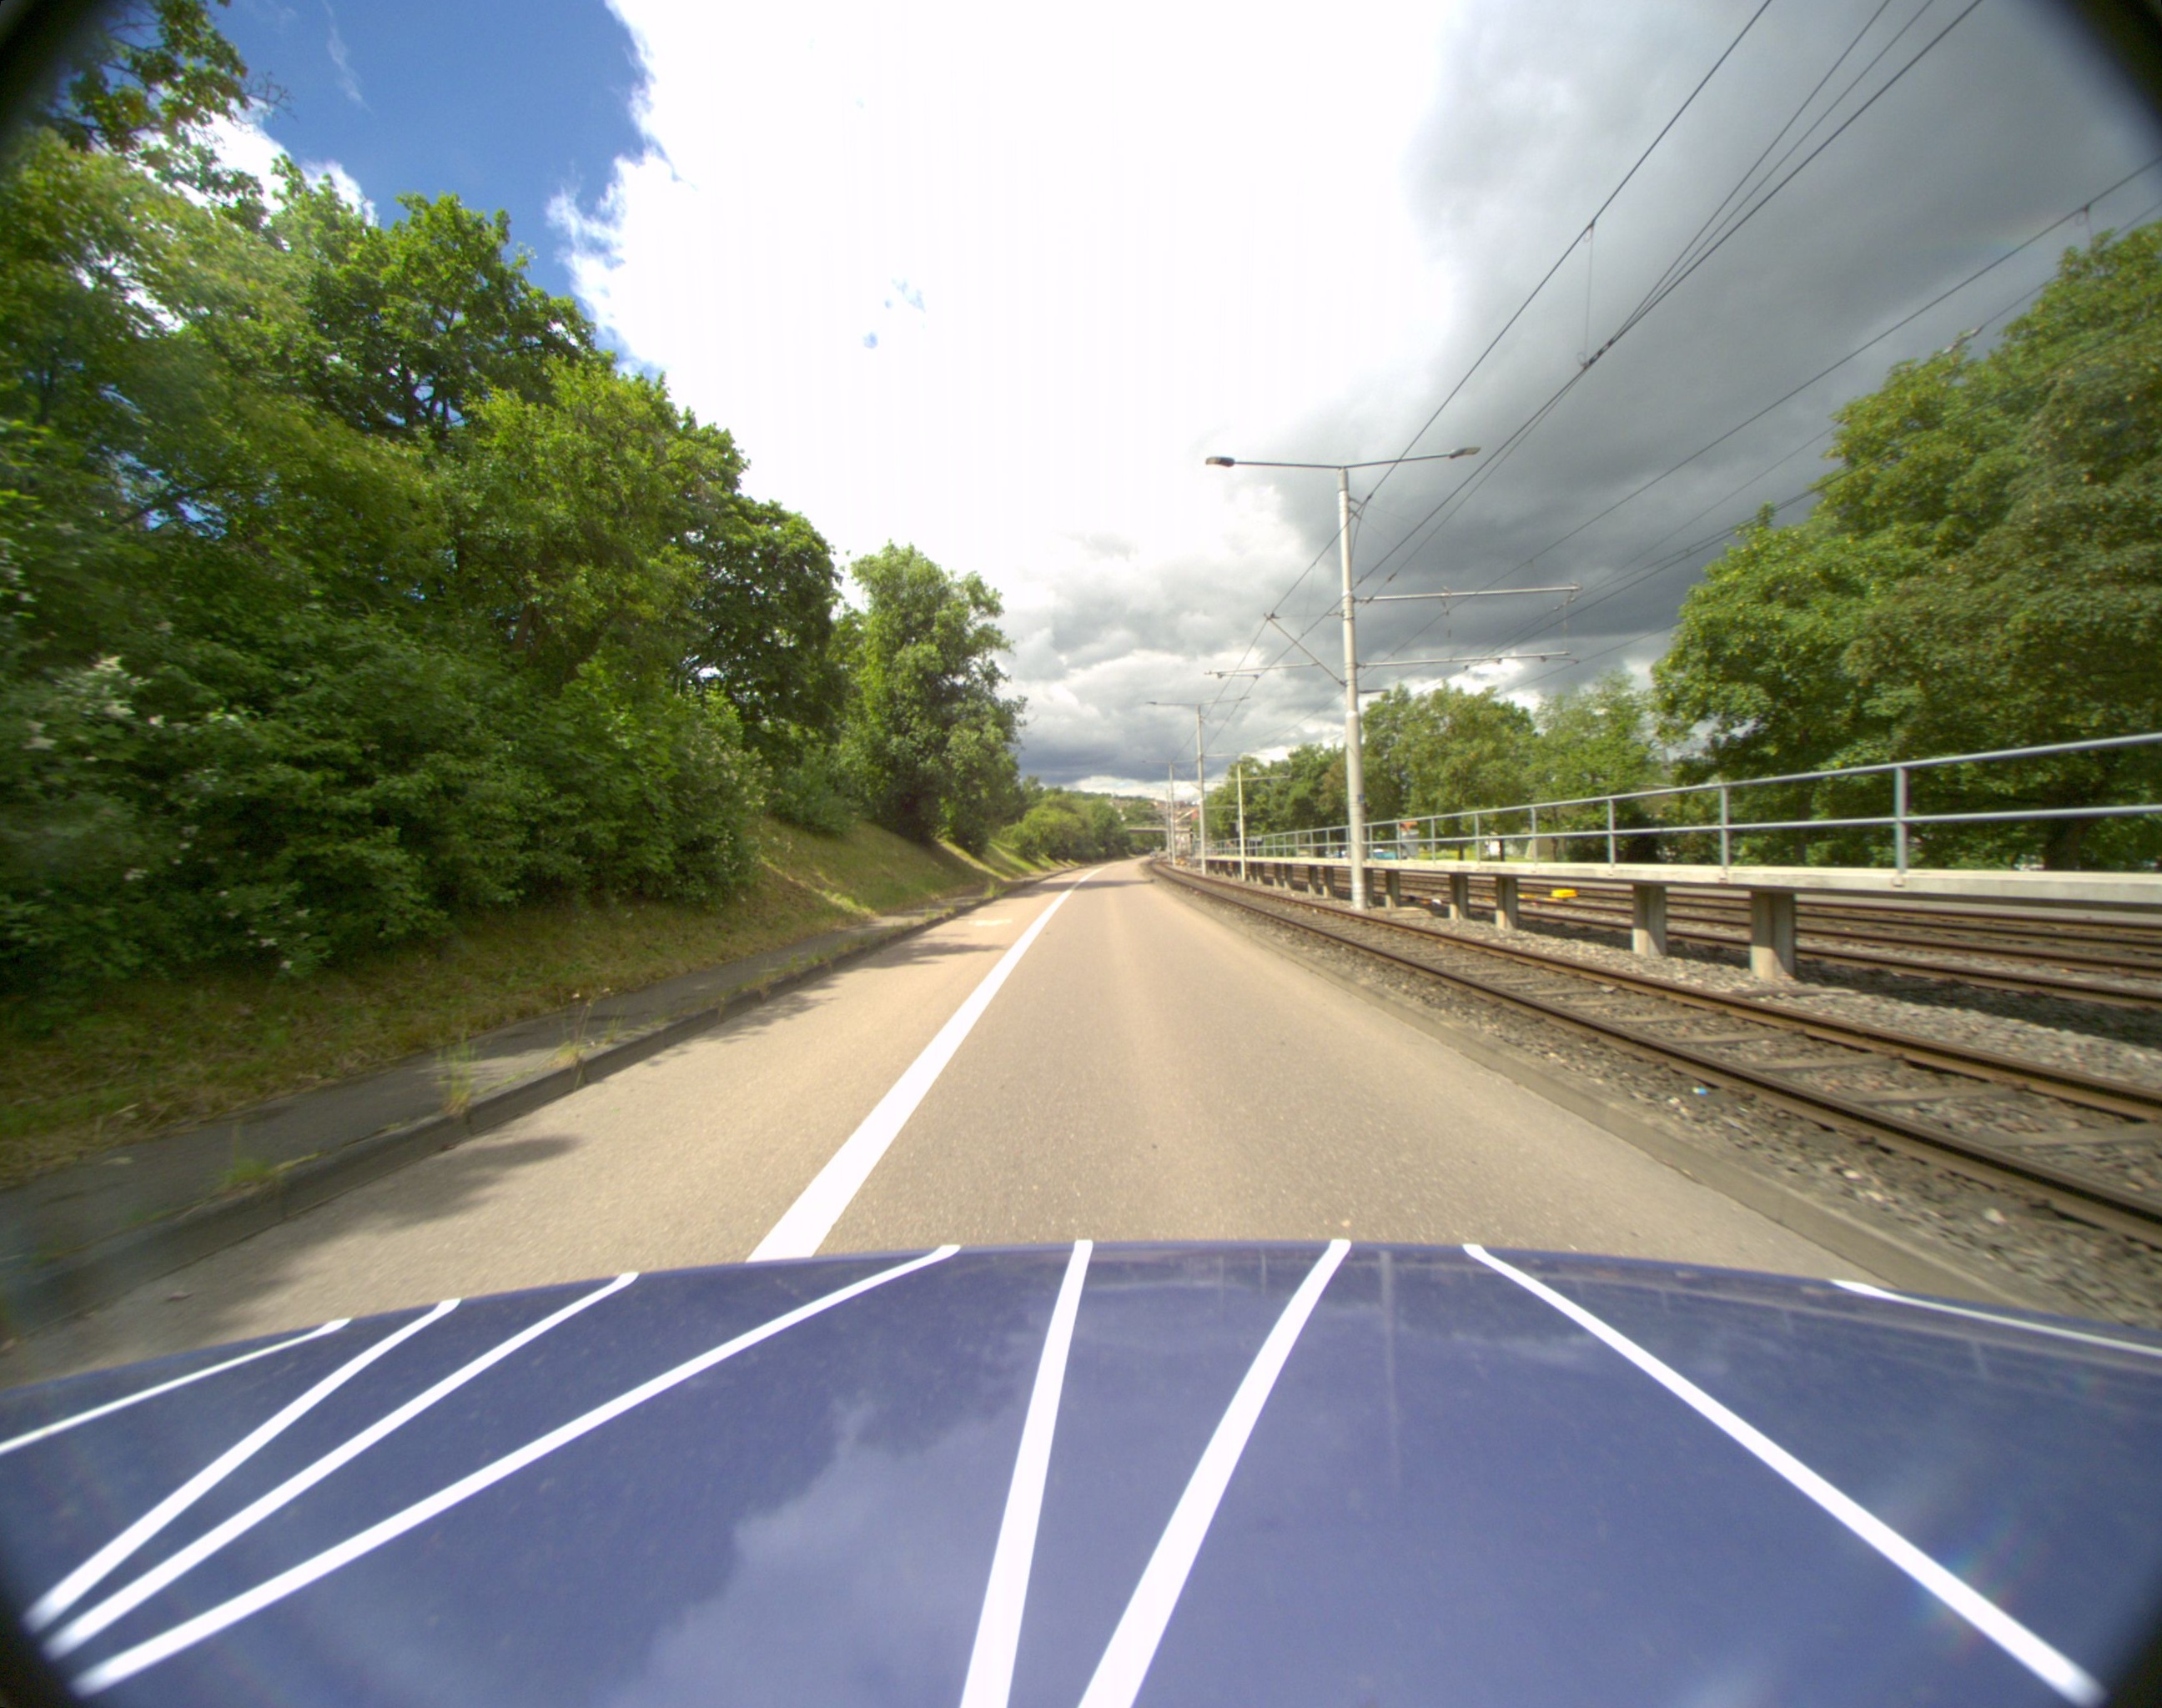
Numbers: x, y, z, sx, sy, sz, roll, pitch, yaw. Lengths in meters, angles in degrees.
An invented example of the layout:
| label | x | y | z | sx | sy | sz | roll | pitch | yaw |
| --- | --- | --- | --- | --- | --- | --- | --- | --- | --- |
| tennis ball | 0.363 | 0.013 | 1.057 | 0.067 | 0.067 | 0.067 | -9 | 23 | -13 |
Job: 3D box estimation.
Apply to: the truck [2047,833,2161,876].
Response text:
| label | x | y | z | sx | sy | sz | roll | pitch | yaw |
| --- | --- | --- | --- | --- | --- | --- | --- | --- | --- |
| truck | 70.062 | 0.019 | 50.972 | 6.617 | 2.839 | 2.680 | 0 | 1 | 5 |
